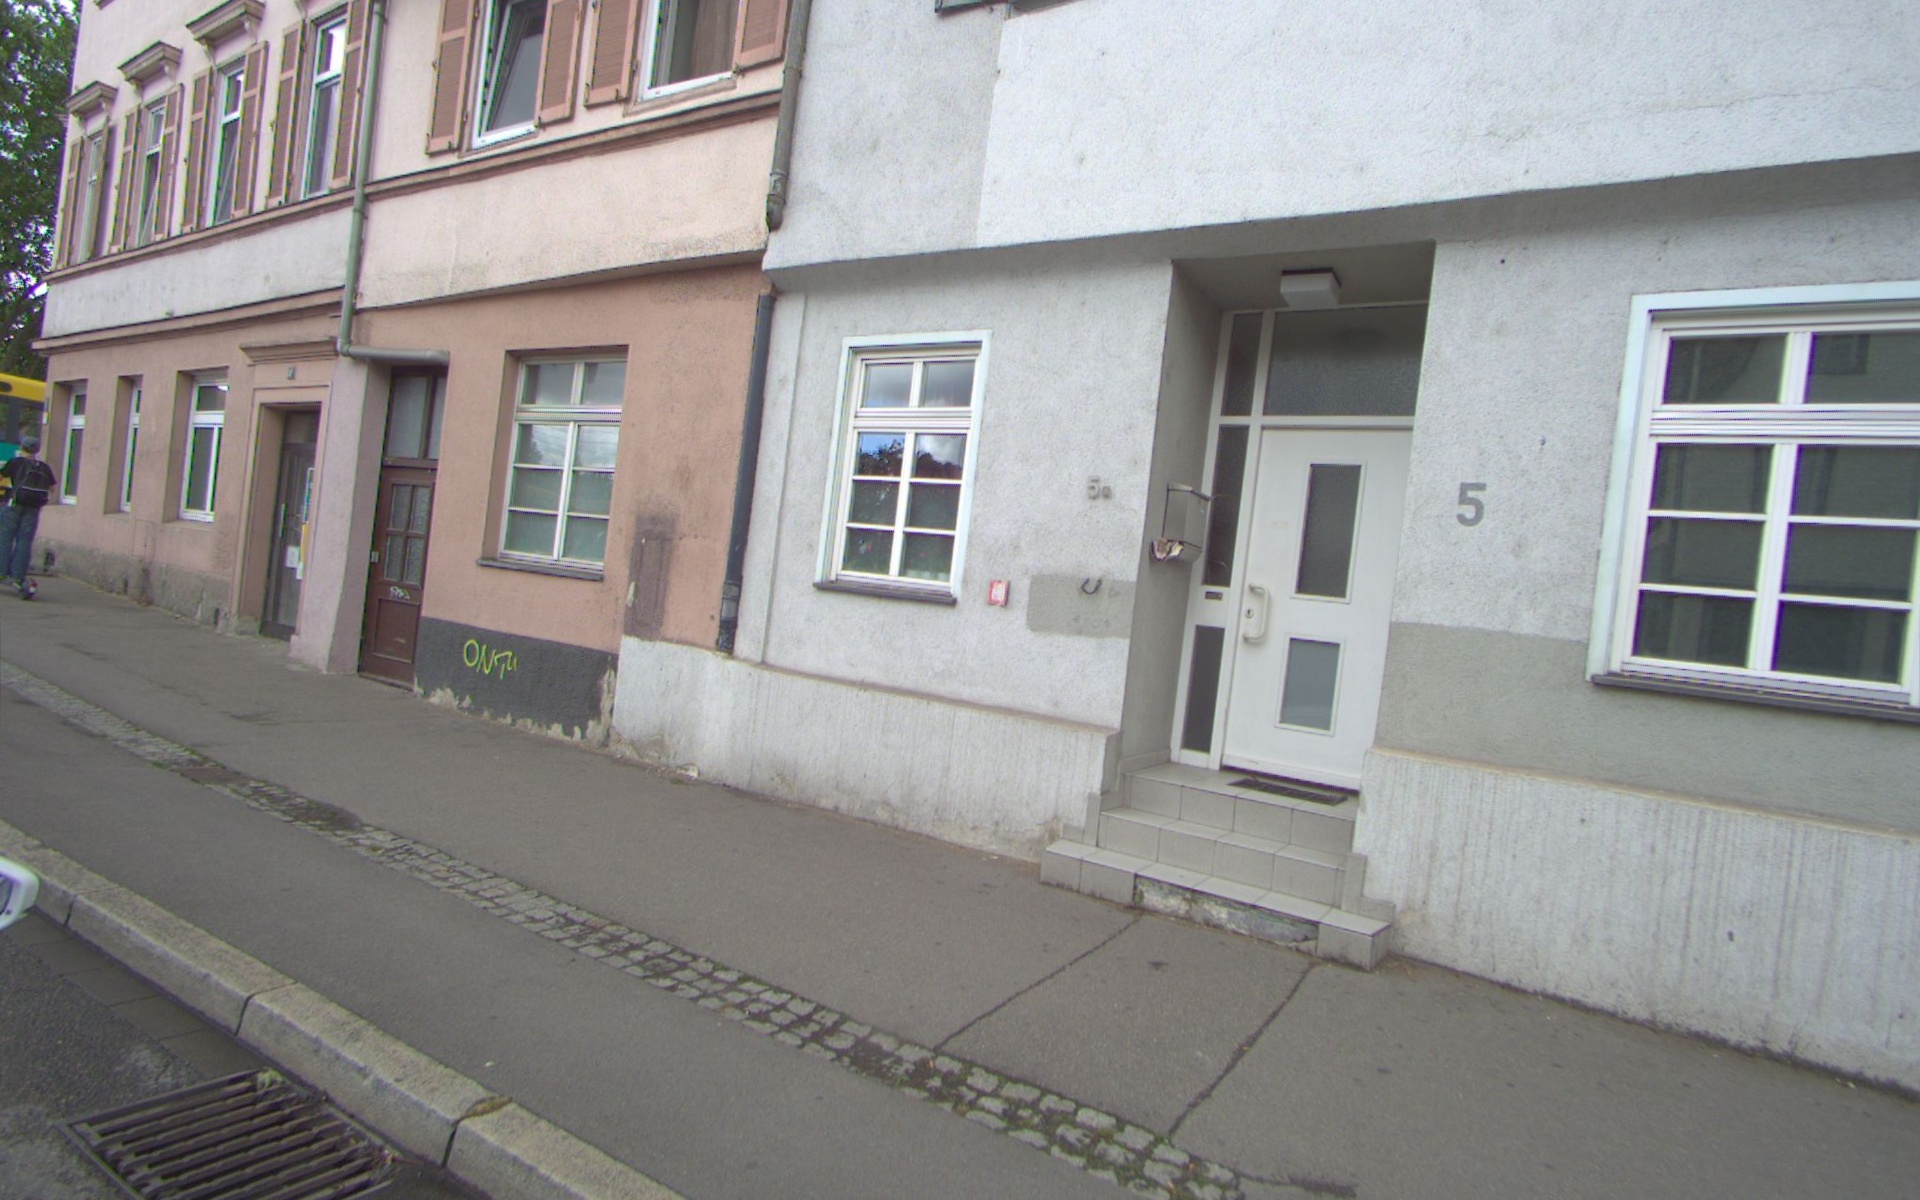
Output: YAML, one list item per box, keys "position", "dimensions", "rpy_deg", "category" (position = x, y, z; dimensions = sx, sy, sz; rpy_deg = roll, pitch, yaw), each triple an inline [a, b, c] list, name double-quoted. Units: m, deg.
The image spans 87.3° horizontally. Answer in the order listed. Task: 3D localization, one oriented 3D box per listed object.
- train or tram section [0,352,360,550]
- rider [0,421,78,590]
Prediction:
- position: [-25.619, -4.407, 25.605]
  dimensions: [3.207, 4.053, 18.812]
  rpy_deg: [10, 1, 26]
  category: "train or tram section"
- position: [-11.090, -1.113, 11.869]
  dimensions: [0.784, 1.871, 0.718]
  rpy_deg: [7, 1, 31]
  category: "rider"
